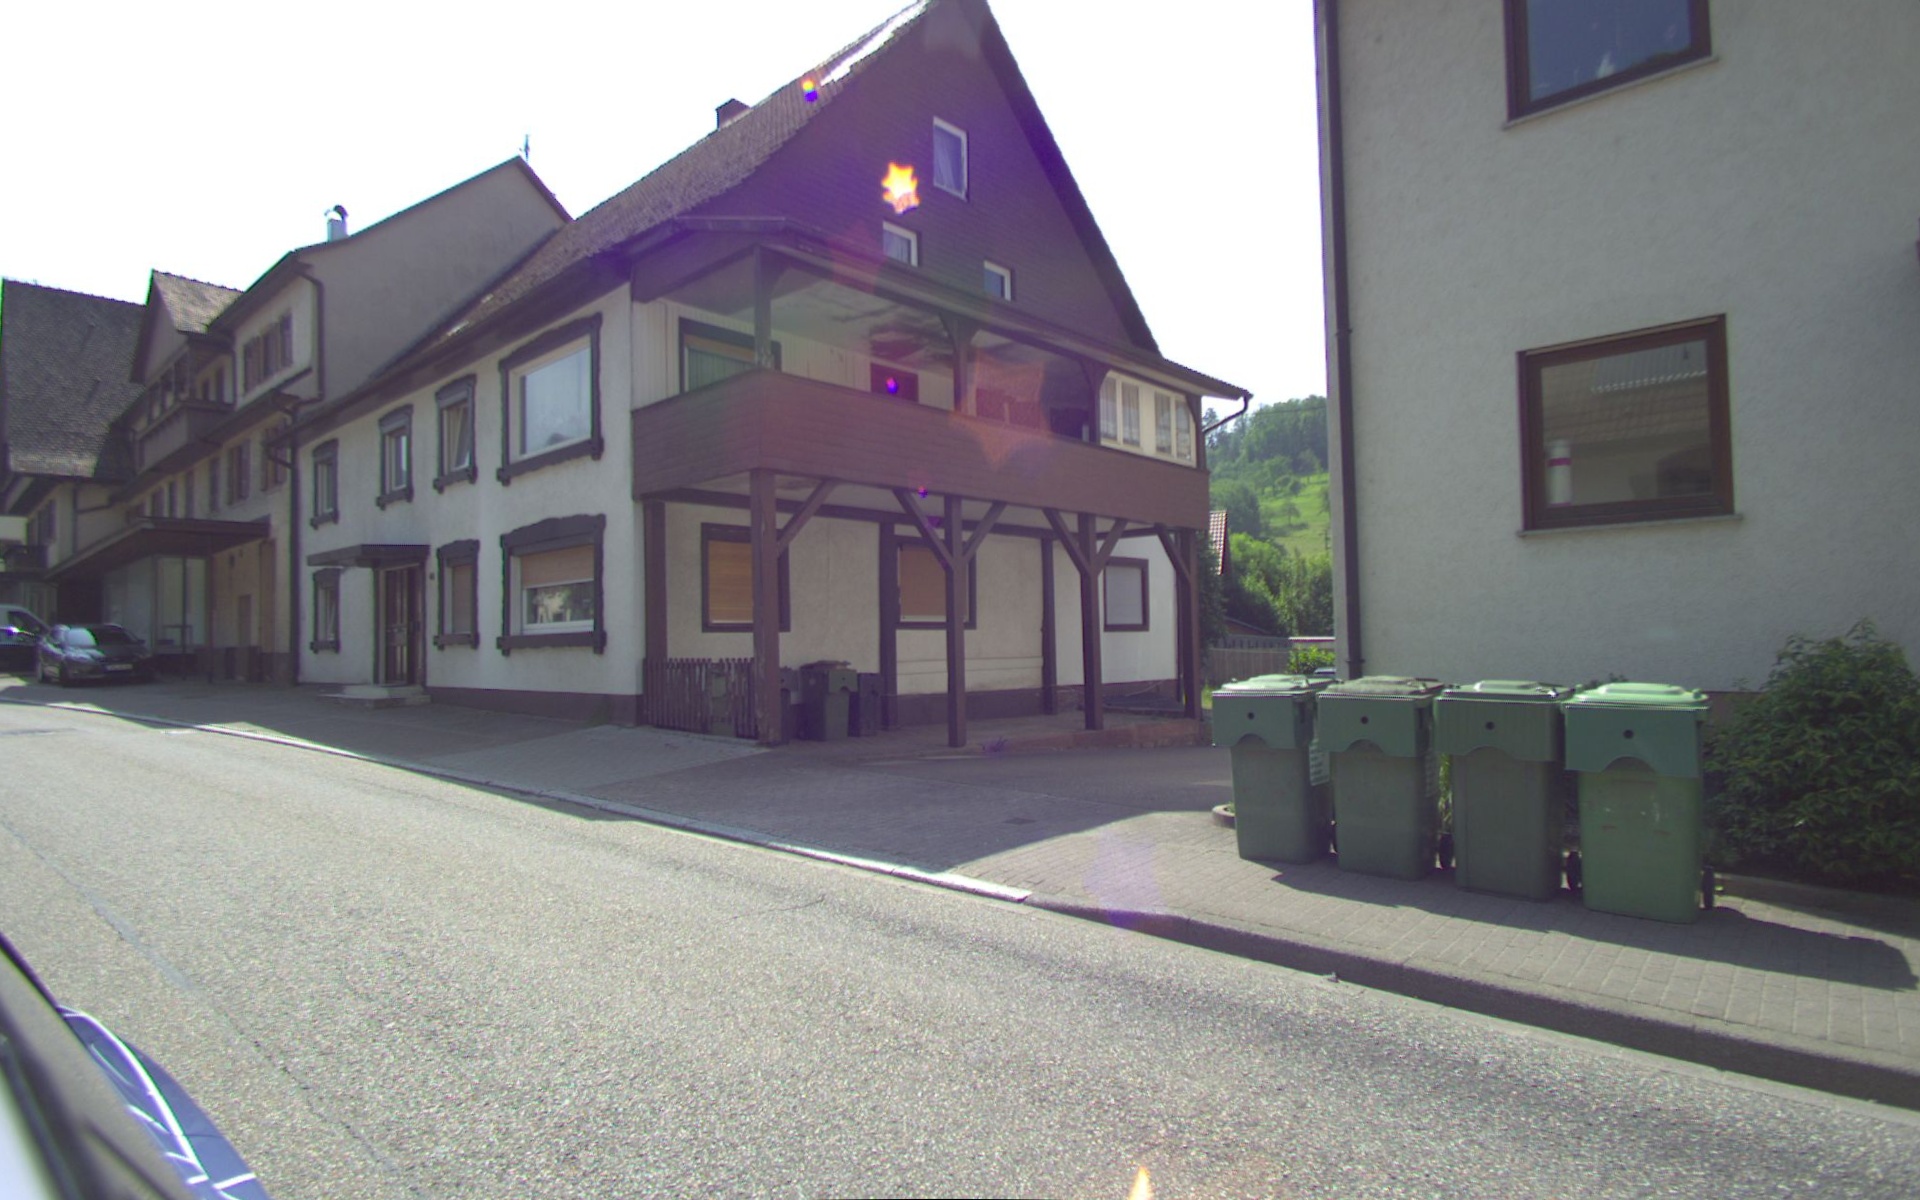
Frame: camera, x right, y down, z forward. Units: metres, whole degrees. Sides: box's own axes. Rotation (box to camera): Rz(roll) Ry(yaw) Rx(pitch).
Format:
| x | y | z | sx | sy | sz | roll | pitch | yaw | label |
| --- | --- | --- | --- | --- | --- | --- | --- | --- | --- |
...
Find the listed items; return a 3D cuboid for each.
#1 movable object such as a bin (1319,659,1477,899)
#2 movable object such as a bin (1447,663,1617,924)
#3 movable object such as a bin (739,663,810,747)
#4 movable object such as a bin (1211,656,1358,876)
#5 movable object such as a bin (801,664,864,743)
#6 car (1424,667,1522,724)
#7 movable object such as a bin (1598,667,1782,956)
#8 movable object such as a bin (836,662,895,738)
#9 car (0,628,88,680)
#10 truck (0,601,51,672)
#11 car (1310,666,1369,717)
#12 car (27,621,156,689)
| x | y | z | sx | sy | sz | roll | pitch | yaw | label |
| --- | --- | --- | --- | --- | --- | --- | --- | --- | --- |
| 2.415 | 0.930 | 5.571 | 0.598 | 1.190 | 0.710 | -2 | -4 | 42 | movable object such as a bin |
| 2.911 | 0.921 | 5.148 | 0.598 | 1.190 | 0.710 | -2 | -4 | 42 | movable object such as a bin |
| -2.468 | 1.382 | 13.457 | 0.696 | 1.059 | 0.615 | -2 | -4 | 41 | movable object such as a bin |
| 1.932 | 0.938 | 6.021 | 0.598 | 1.190 | 0.710 | -2 | -4 | 42 | movable object such as a bin |
| -1.787 | 1.428 | 14.180 | 0.632 | 1.059 | 0.600 | -2 | -4 | 41 | movable object such as a bin |
| 16.586 | 3.081 | 32.655 | 3.619 | 1.667 | 1.742 | 6 | -6 | -44 | car |
| 3.401 | 0.913 | 4.711 | 0.598 | 1.190 | 0.710 | -2 | -4 | 42 | movable object such as a bin |
| -1.382 | 1.448 | 14.750 | 0.600 | 1.059 | 0.592 | -2 | -4 | 41 | movable object such as a bin |
| -28.241 | 1.564 | 29.475 | 1.752 | 1.514 | 4.054 | -2 | -3 | 39 | car |
| -32.216 | 1.186 | 32.555 | 1.996 | 2.283 | 4.129 | -1 | -1 | 36 | truck |
| 12.653 | 2.999 | 33.661 | 1.655 | 1.572 | 3.438 | 0 | -4 | 24 | car |
| -22.011 | 1.340 | 25.599 | 4.280 | 1.565 | 1.752 | -2 | -1 | 39 | car |
